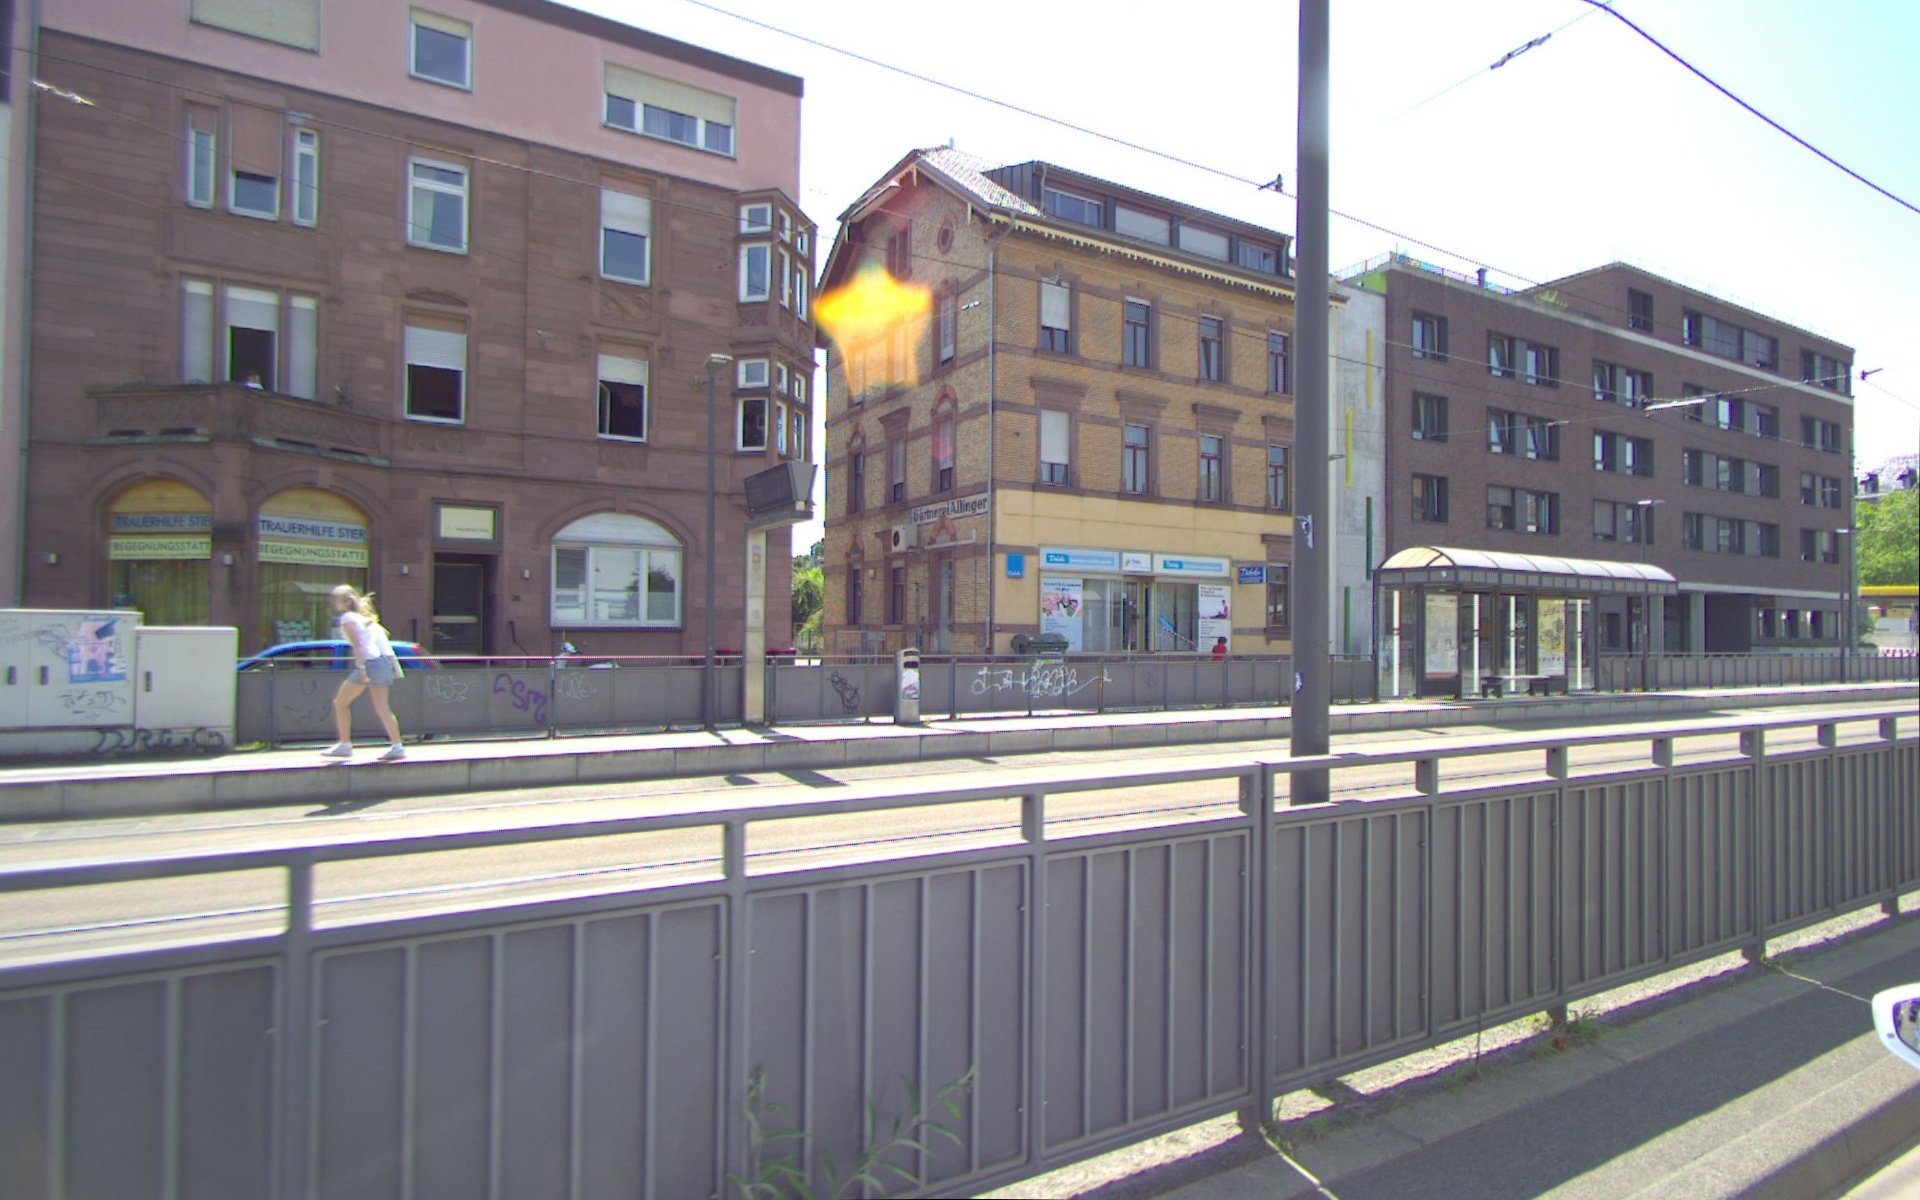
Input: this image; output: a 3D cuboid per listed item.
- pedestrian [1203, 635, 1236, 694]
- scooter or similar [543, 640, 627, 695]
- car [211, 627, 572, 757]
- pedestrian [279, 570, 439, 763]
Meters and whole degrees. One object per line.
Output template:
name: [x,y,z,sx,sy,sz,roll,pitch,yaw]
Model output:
pedestrian: [7.114,1.749,27.535,0.633,1.581,0.611,1,-2,-30]
scooter or similar: [-7.725,1.388,20.735,1.550,1.096,0.488,1,-2,-13]
car: [-7.490,1.158,13.626,3.950,1.528,1.986,2,-2,-28]
pedestrian: [-5.578,0.612,9.399,1.083,1.696,0.763,2,-2,-18]
